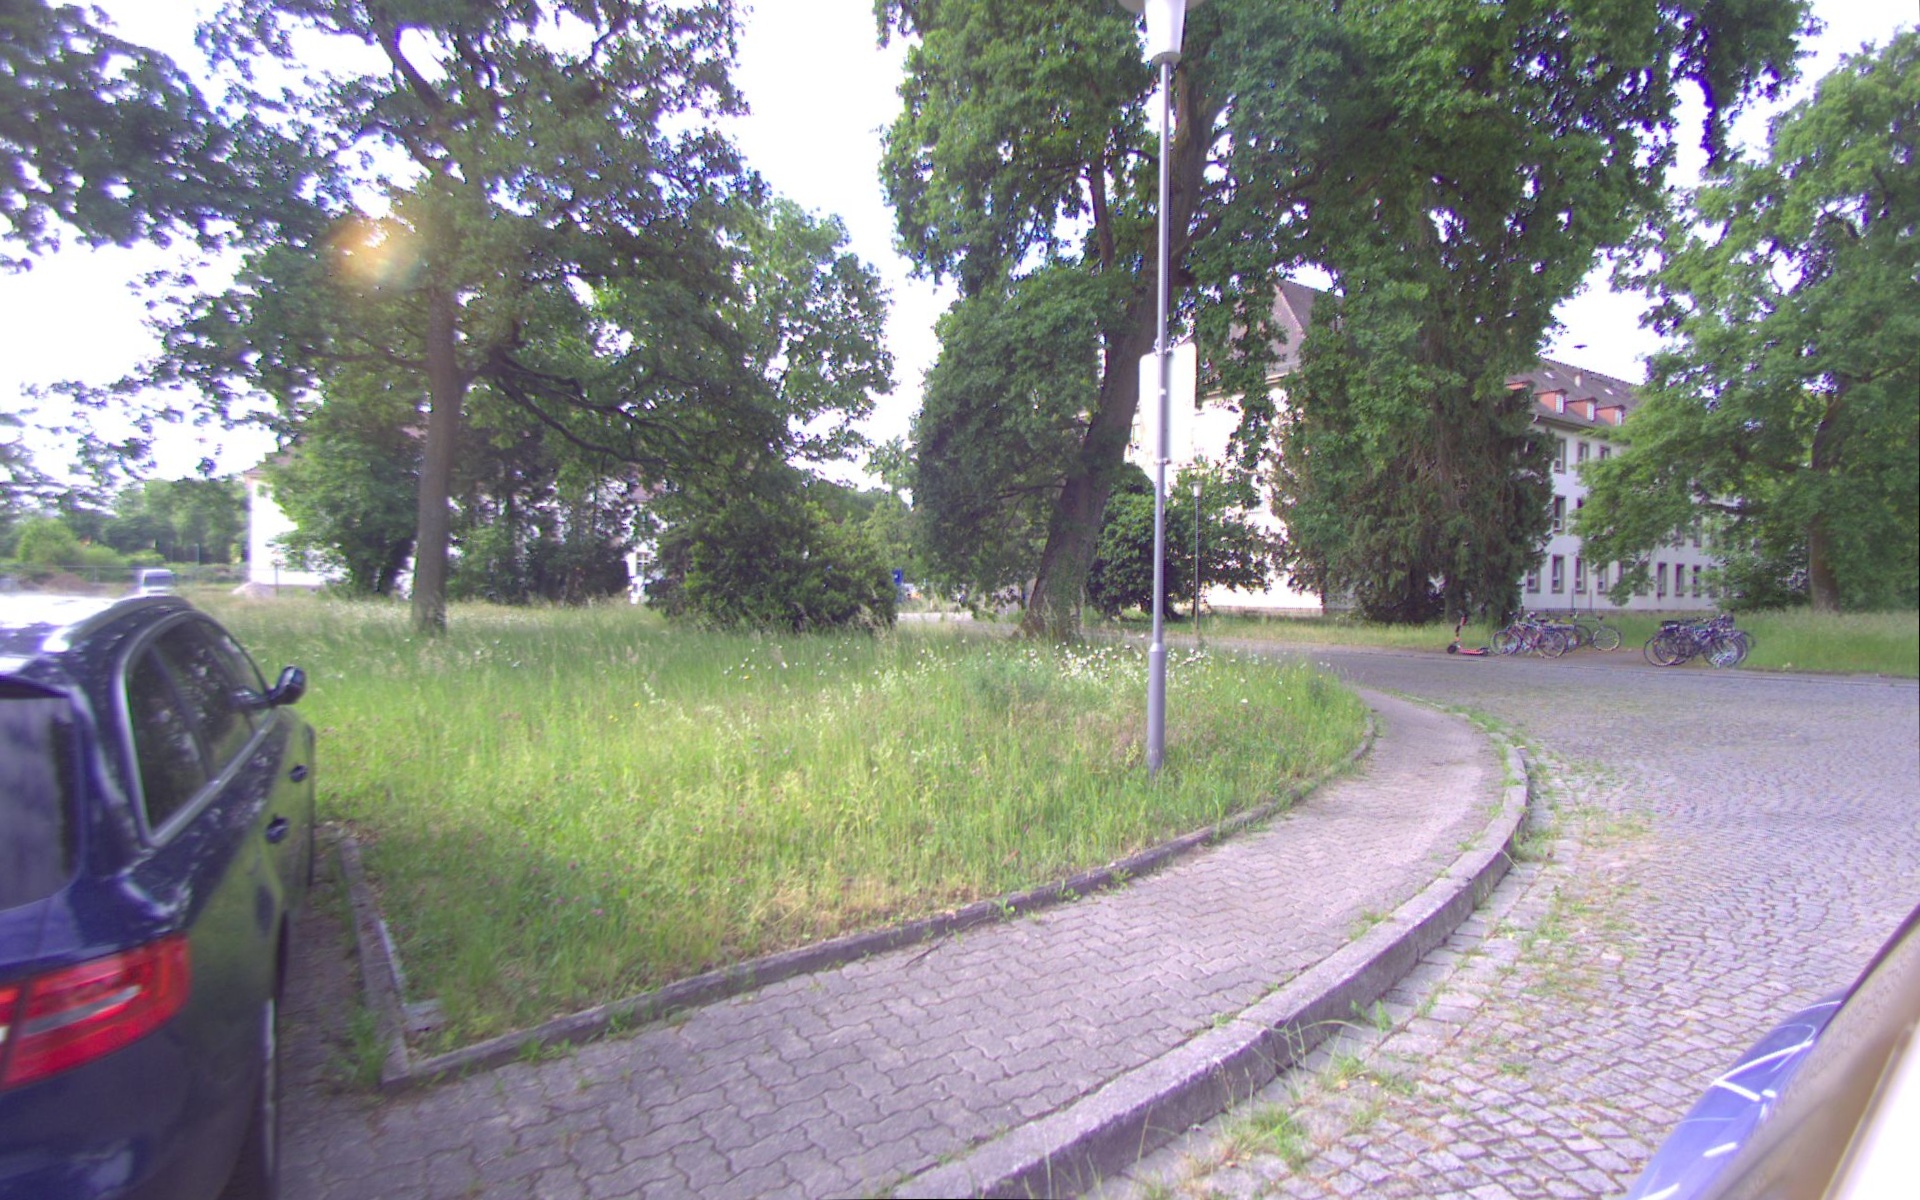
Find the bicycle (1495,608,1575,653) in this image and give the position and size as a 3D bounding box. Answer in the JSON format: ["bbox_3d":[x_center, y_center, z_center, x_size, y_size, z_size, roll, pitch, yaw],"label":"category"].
[{"bbox_3d":[15.120,0.789,26.642,1.797,1.101,0.474,1,3,30],"label":"bicycle"}]

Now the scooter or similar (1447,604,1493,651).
[{"bbox_3d":[13.749,0.730,27.314,0.378,1.210,1.065,1,0,-31],"label":"scooter or similar"}]

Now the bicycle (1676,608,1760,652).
[{"bbox_3d":[20.662,0.806,27.633,1.796,1.101,0.547,2,3,35],"label":"bicycle"}]

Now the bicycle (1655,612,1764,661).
[{"bbox_3d":[17.410,0.842,23.570,2.004,1.022,0.473,2,3,35],"label":"bicycle"}]

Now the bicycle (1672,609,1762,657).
[{"bbox_3d":[19.055,0.822,25.515,1.777,1.101,0.473,2,3,35],"label":"bicycle"}]

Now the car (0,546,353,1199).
[{"bbox_3d":[-2.939,0.585,3.024,1.857,1.483,4.525,1,2,-30],"label":"car"}]

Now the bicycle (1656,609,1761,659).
[{"bbox_3d":[18.067,0.801,24.477,2.004,1.101,0.473,2,3,35],"label":"bicycle"}]

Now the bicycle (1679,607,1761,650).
[{"bbox_3d":[21.624,0.795,28.848,1.813,1.101,0.547,2,3,35],"label":"bicycle"}]

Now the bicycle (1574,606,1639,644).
[{"bbox_3d":[18.760,0.712,29.390,1.554,1.047,0.471,2,1,32],"label":"bicycle"}]

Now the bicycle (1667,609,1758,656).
[{"bbox_3d":[19.448,0.815,26.199,1.854,1.101,0.514,2,3,35],"label":"bicycle"}]

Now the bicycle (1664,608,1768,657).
[{"bbox_3d":[18.545,0.785,24.888,2.004,1.101,0.473,2,3,35],"label":"bicycle"}]

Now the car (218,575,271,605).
[{"bbox_3d":[-50.441,-0.685,71.310,2.444,2.039,5.825,0,0,-42],"label":"car"}]

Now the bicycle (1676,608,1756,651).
[{"bbox_3d":[21.089,0.802,28.276,1.739,1.101,0.547,2,3,35],"label":"bicycle"}]

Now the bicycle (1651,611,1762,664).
[{"bbox_3d":[17.084,0.838,23.211,2.004,1.101,0.473,2,3,35],"label":"bicycle"}]

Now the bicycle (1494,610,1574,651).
[{"bbox_3d":[15.366,0.805,27.137,1.840,1.002,0.451,2,1,30],"label":"bicycle"}]

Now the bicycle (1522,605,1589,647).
[{"bbox_3d":[16.614,0.714,28.281,1.550,1.102,0.557,1,1,26],"label":"bicycle"}]
